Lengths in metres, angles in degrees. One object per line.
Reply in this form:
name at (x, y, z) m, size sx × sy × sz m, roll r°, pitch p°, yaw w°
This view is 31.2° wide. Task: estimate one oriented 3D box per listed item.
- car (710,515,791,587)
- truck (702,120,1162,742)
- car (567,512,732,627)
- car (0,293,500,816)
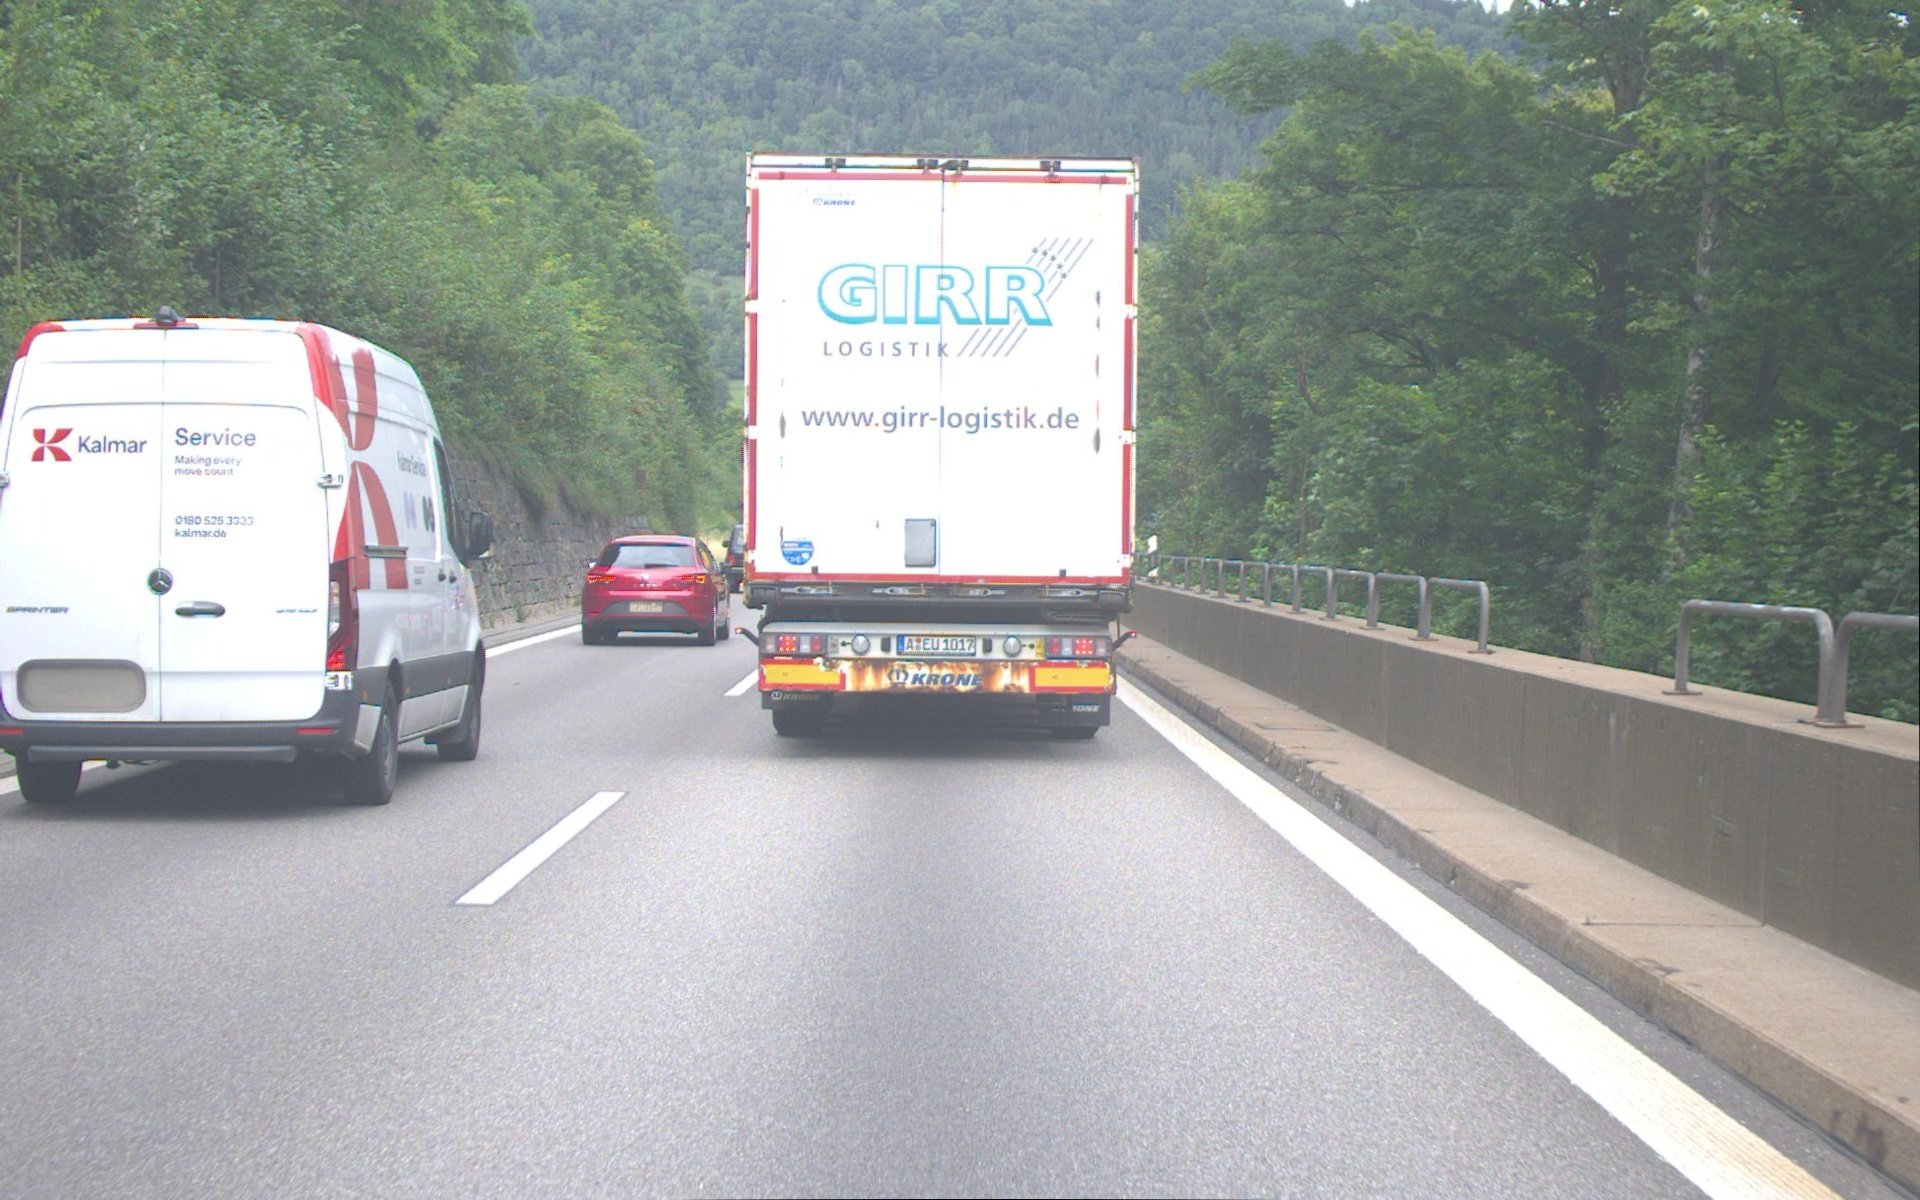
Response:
car at (-4.881, -1.139, 80.554) m, size 1.669 × 1.633 × 4.068 m, roll 0°, pitch 1°, yaw 0°
truck at (-0.145, -1.156, 26.510) m, size 2.909 × 3.947 × 9.279 m, roll 0°, pitch 1°, yaw 0°
car at (-4.103, -0.420, 45.955) m, size 1.766 × 1.455 × 4.411 m, roll 0°, pitch 1°, yaw 0°
car at (-4.055, -0.268, 20.100) m, size 2.026 × 2.576 × 6.275 m, roll 0°, pitch 1°, yaw -1°
